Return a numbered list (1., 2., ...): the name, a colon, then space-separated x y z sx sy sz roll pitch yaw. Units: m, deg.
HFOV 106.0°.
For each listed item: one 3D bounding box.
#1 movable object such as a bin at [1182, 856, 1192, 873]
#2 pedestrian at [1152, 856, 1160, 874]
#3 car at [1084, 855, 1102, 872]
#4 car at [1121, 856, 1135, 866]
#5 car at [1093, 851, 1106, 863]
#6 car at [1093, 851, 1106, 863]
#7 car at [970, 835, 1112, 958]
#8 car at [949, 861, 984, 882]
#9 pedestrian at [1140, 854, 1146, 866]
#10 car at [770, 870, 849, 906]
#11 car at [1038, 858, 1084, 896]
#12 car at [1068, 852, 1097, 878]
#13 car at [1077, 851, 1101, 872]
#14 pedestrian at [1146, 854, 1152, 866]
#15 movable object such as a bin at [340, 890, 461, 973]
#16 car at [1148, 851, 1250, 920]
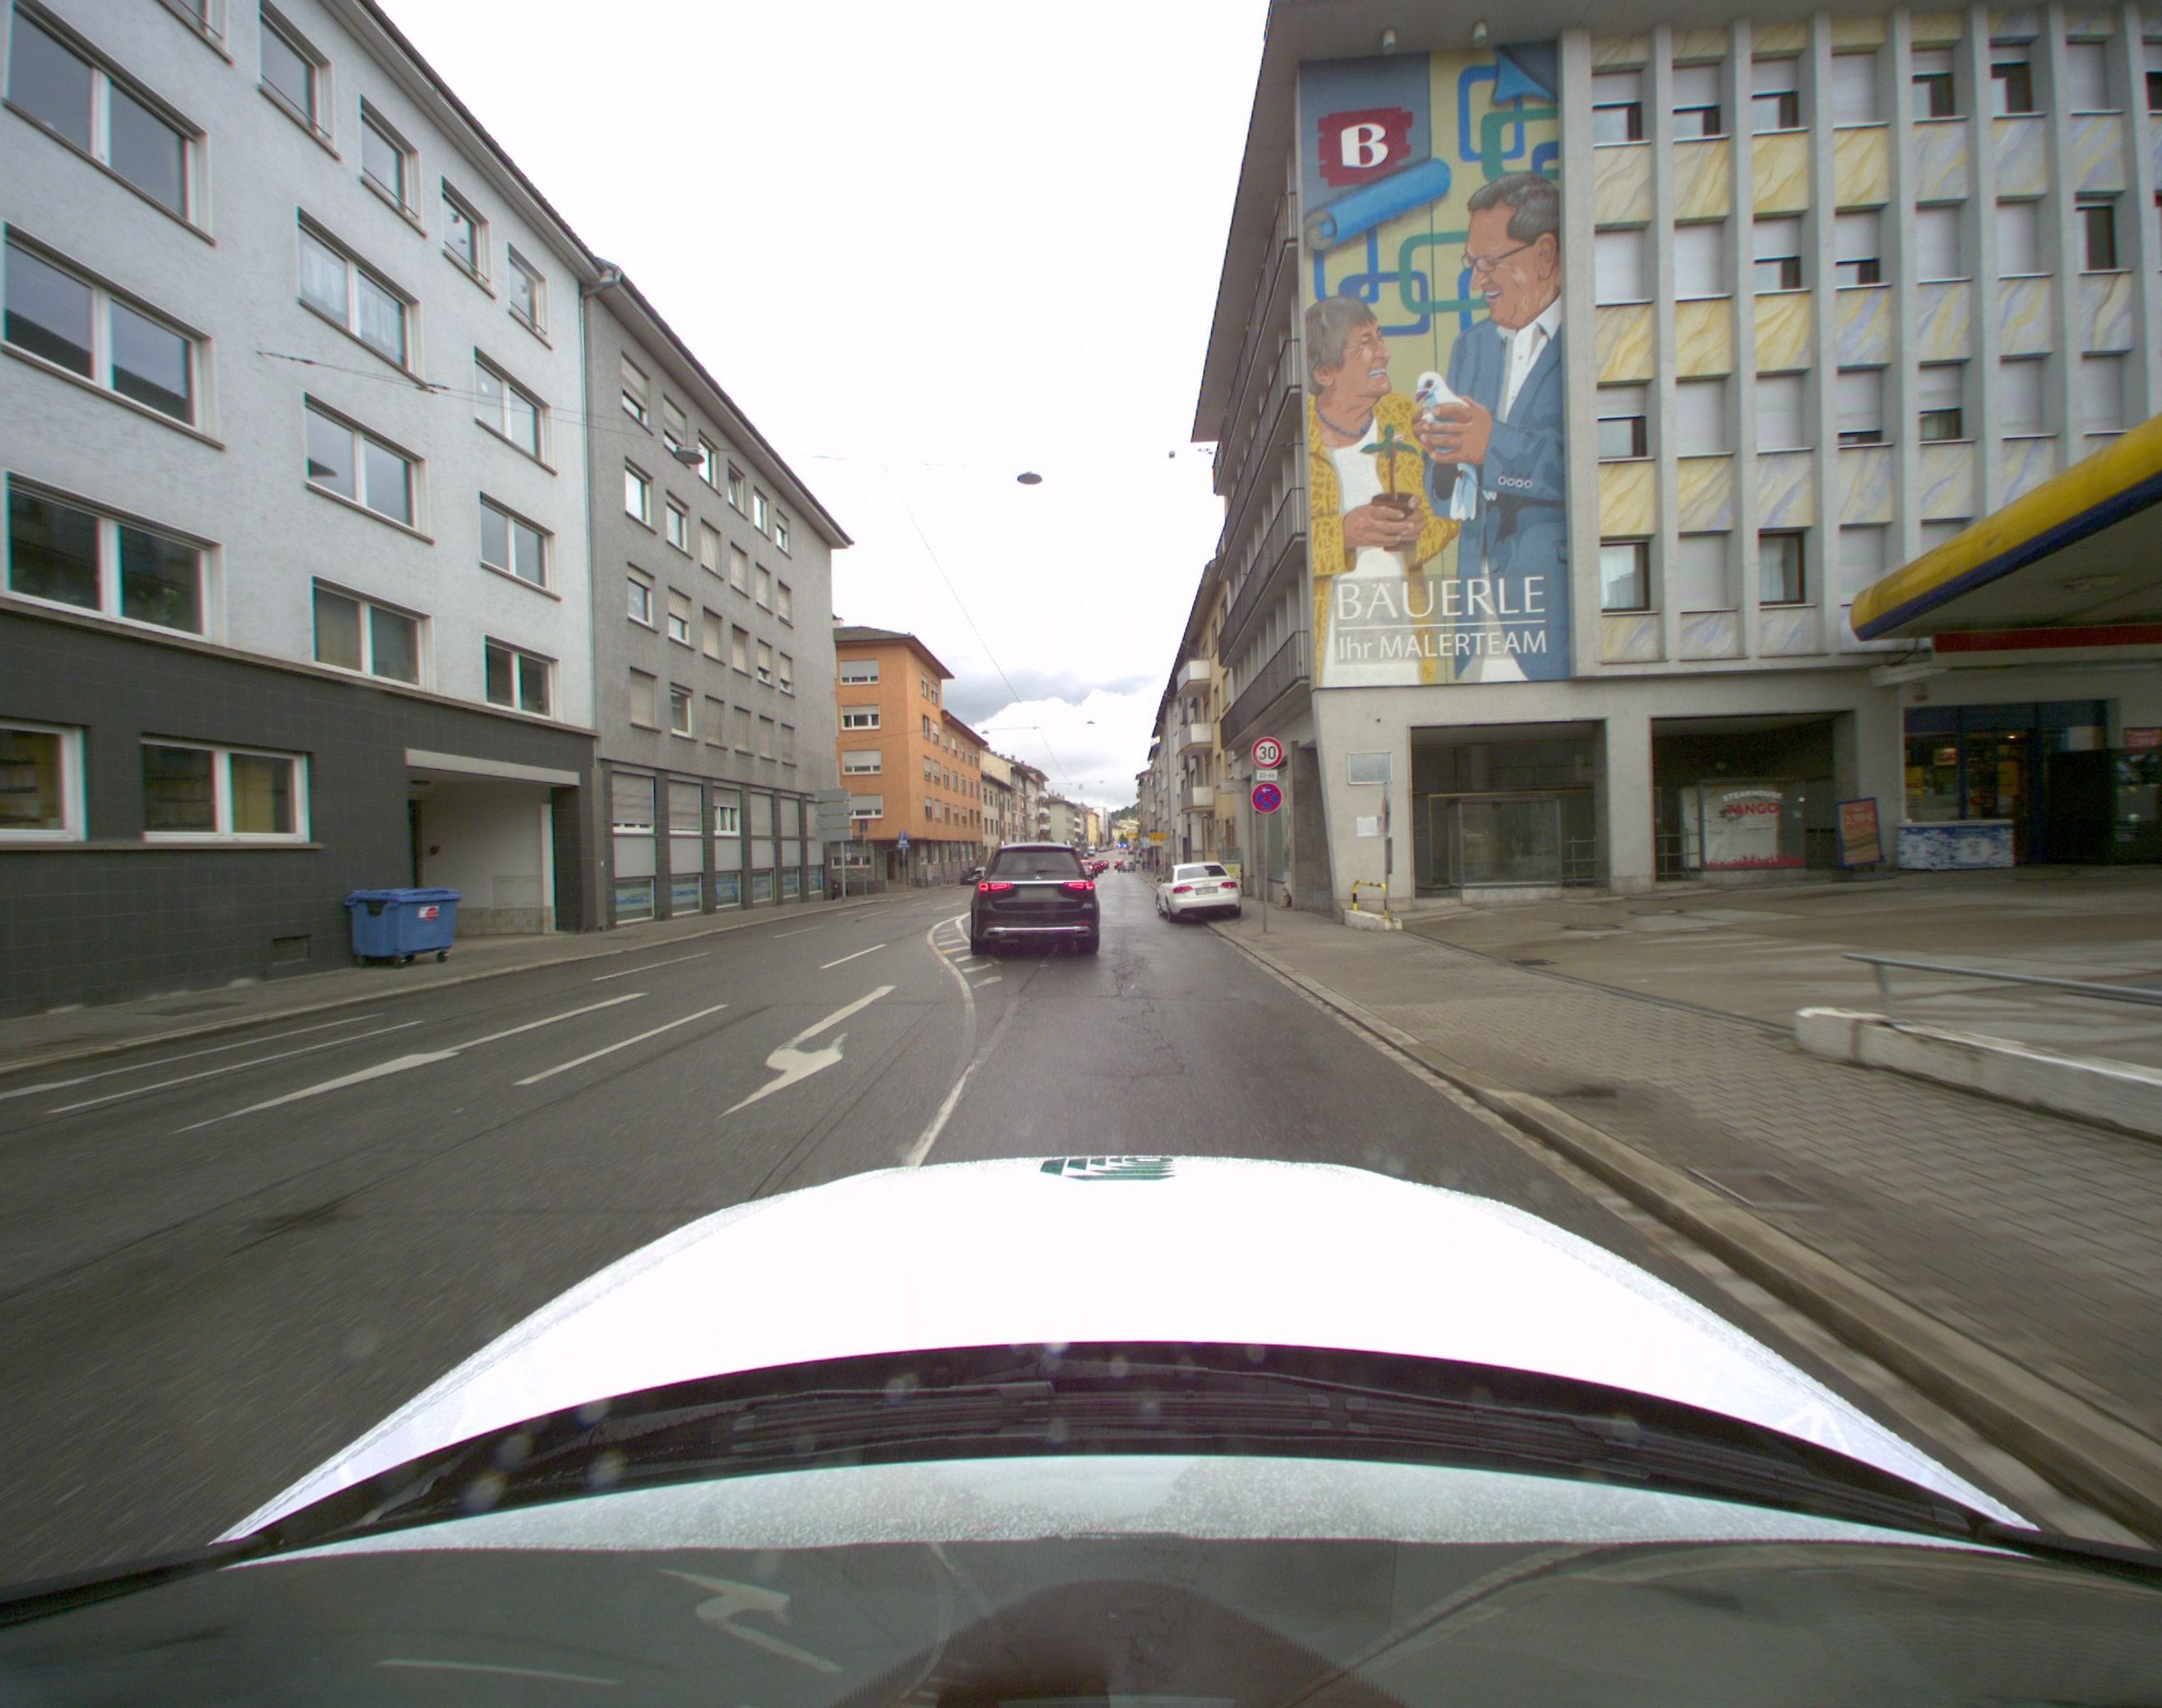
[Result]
1. movable object such as a bin: 6.286 0.648 48.411 0.471 0.962 0.565 -5 0 4
2. pedestrian: 7.486 1.108 81.071 0.652 1.752 0.743 -4 -1 7
3. car: 1.564 1.174 102.139 1.984 2.013 4.005 -1 0 5
4. car: 6.548 0.979 114.083 1.728 1.388 4.584 -1 0 1
5. car: 3.183 0.490 139.986 1.984 2.013 4.005 -1 0 5
6. car: 3.077 0.515 134.574 1.984 2.013 4.005 -1 0 5
7. car: -0.853 0.602 14.227 2.074 1.765 4.599 -1 0 -7
8. car: -8.449 1.252 60.619 1.885 1.458 4.549 -1 0 1
9. pedestrian: 8.517 0.836 112.025 0.817 1.565 0.901 -1 0 5
10. car: -16.362 2.031 49.196 3.972 1.652 1.931 -6 0 2
11. car: -0.838 0.956 35.747 1.887 1.510 4.173 0 0 0
12. car: 0.165 0.876 66.637 1.984 2.013 4.005 -1 0 5
13. car: 0.816 0.703 78.528 1.984 2.013 4.005 -1 0 5
14. pedestrian: 9.340 0.814 111.956 0.817 1.565 0.901 -1 0 5
15. movable object such as a bin: -11.826 1.316 14.196 1.072 1.324 1.191 -1 0 2
16. car: 2.963 0.742 21.445 1.887 1.402 4.608 -7 0 0
